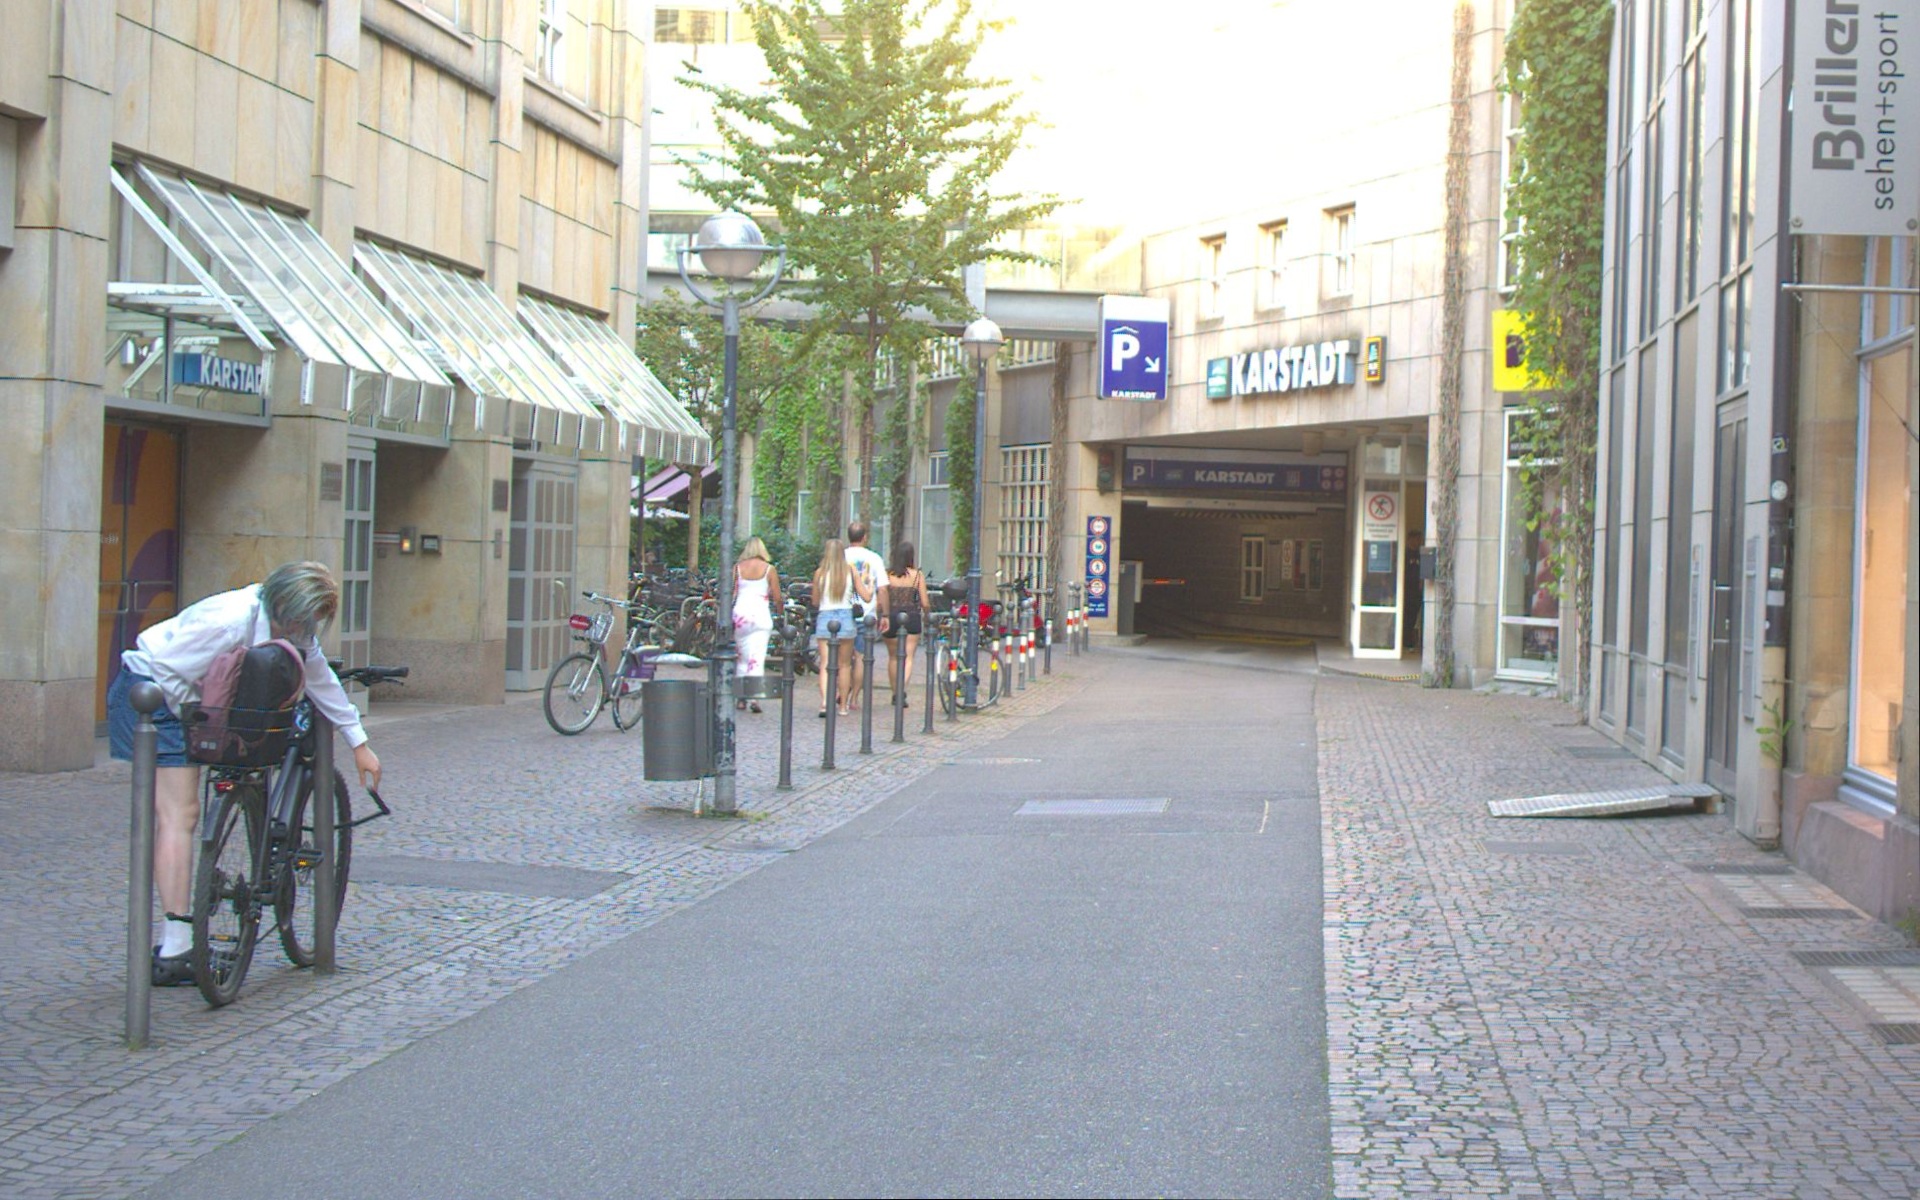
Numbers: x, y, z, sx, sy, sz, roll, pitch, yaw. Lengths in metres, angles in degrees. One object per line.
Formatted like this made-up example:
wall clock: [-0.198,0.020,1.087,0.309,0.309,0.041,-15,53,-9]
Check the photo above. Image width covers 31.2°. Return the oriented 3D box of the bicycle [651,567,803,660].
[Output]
bicycle: [-3.010,0.175,44.441,1.872,1.173,0.534,0,1,-17]

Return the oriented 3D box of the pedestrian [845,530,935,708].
pedestrian: [-0.712,0.183,35.243,0.785,1.789,0.972,1,1,5]

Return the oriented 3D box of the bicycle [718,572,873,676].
bicycle: [-1.971,0.285,41.199,1.766,1.226,0.534,0,1,-17]

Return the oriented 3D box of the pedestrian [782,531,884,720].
pedestrian: [-1.183,0.228,32.248,0.806,1.723,0.948,2,1,4]

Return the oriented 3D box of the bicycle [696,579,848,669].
bicycle: [-2.372,0.305,43.420,1.836,1.118,0.534,0,1,-17]

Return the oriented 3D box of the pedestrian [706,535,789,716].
pedestrian: [-1.997,0.232,32.367,0.674,1.659,0.860,2,1,1]

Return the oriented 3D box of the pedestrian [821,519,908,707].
pedestrian: [-0.935,0.116,33.882,0.742,1.816,0.878,1,1,4]

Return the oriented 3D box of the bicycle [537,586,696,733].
bicycle: [-2.773,0.463,27.917,0.522,1.134,1.762,1,1,22]

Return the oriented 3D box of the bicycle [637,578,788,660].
bicycle: [-3.241,0.244,44.997,1.893,1.048,0.534,0,1,-17]

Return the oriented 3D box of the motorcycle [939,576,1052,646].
motorcycle: [0.552,0.166,53.132,1.662,1.047,0.464,1,1,-15]

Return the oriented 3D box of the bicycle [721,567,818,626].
bicycle: [-3.664,-0.069,66.181,1.773,1.111,0.543,1,1,-15]

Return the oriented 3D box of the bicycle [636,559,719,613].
bicycle: [-6.383,-0.308,77.657,1.773,1.186,0.586,1,1,-15]

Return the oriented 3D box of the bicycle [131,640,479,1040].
bicycle: [-2.148,0.748,11.518,0.533,1.150,1.914,3,1,7]

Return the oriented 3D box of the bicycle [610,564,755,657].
bicycle: [-3.694,0.142,45.719,1.833,1.221,0.534,0,1,-17]

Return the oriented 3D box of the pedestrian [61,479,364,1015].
pedestrian: [-2.496,0.474,11.533,0.768,1.712,0.591,3,1,5]

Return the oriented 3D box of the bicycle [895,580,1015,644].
bicycle: [-0.081,0.191,54.861,1.847,0.979,0.464,1,1,-15]

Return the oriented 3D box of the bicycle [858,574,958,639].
bicycle: [-0.856,0.112,56.748,1.539,1.045,0.575,1,1,-15]

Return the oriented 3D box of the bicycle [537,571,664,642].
bicycle: [-5.381,0.103,51.456,1.824,1.039,0.534,0,1,-17]

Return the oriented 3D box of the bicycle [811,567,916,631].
bicycle: [-1.729,-0.016,61.477,1.773,1.111,0.543,1,1,-15]

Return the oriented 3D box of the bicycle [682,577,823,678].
bicycle: [-2.568,0.336,42.544,1.653,1.226,0.534,0,1,-17]

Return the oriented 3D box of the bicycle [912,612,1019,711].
bicycle: [0.069,0.605,34.511,0.493,0.935,1.657,3,1,20]

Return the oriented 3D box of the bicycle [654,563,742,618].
bicycle: [-5.494,-0.202,72.166,1.773,1.111,0.543,1,1,-12]
